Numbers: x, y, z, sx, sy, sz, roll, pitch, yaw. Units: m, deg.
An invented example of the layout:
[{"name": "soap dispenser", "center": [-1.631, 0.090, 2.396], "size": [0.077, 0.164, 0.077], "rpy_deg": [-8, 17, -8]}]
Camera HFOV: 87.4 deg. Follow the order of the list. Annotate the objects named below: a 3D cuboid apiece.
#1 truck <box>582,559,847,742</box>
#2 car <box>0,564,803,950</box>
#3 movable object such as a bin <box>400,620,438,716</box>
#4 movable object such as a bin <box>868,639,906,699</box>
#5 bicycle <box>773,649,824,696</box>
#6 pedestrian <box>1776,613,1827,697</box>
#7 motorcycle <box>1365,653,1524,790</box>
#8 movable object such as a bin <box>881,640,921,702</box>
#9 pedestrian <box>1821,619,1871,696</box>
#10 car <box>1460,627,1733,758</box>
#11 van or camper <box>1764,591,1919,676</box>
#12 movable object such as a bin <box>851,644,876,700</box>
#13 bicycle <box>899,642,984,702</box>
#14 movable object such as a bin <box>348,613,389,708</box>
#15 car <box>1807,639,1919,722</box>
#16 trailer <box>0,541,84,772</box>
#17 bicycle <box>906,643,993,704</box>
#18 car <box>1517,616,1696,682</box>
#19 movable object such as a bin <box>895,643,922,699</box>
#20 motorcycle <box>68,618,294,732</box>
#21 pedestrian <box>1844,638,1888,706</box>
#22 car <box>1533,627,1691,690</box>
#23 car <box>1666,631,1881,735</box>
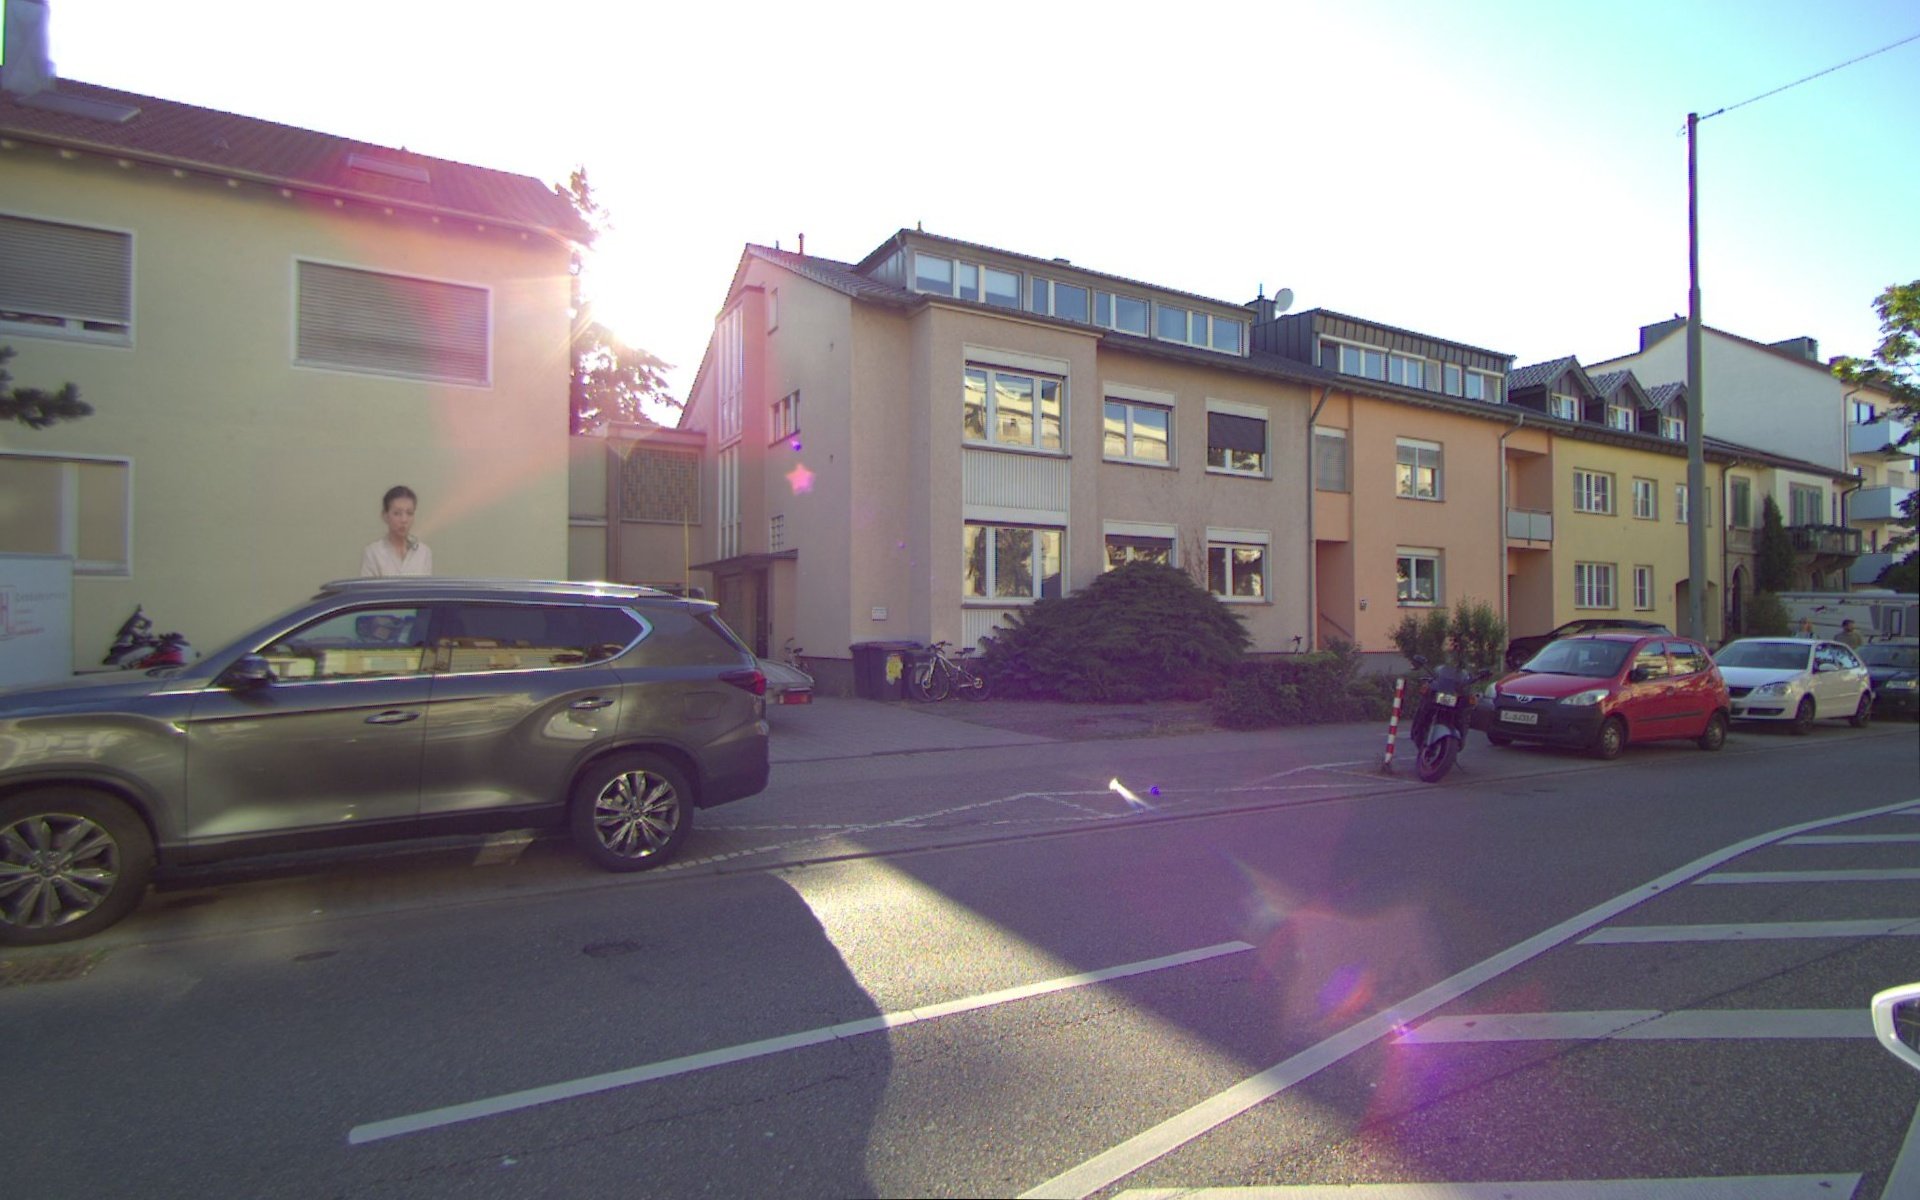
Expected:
[{"name": "truck", "center": [-4.151, 0.714, 15.698], "size": [2.249, 2.214, 6.864], "rpy_deg": [1, -2, -29]}, {"name": "car", "center": [-3.536, 0.790, 6.397], "size": [4.673, 1.802, 1.877], "rpy_deg": [1, -2, -32]}, {"name": "movable object such as a bin", "center": [-8.226, 1.017, 15.263], "size": [0.480, 1.420, 0.478], "rpy_deg": [1, -2, -29]}, {"name": "movable object such as a bin", "center": [-1.385, 1.292, 19.044], "size": [0.579, 1.105, 0.486], "rpy_deg": [1, -2, -30]}, {"name": "bicycle", "center": [-3.397, 1.523, 21.043], "size": [0.582, 0.942, 1.589], "rpy_deg": [1, -5, -27]}, {"name": "pedestrian", "center": [18.712, 1.213, 22.349], "size": [0.499, 1.816, 0.711], "rpy_deg": [1, -2, -27]}, {"name": "motorcycle", "center": [5.397, 1.253, 11.090], "size": [1.164, 1.282, 2.362], "rpy_deg": [-1, -2, 36]}, {"name": "movable object such as a bin", "center": [-1.084, 1.293, 18.476], "size": [0.579, 1.105, 0.486], "rpy_deg": [1, -2, -30]}, {"name": "pedestrian", "center": [21.246, 1.371, 24.089], "size": [0.564, 1.816, 0.711], "rpy_deg": [1, -2, -27]}, {"name": "car", "center": [8.458, 1.140, 13.339], "size": [3.392, 1.543, 1.587], "rpy_deg": [1, -2, -28]}, {"name": "van or camper", "center": [32.638, 1.144, 35.044], "size": [2.324, 2.810, 6.764], "rpy_deg": [1, 0, -30]}, {"name": "movable object such as a bin", "center": [-1.841, 1.357, 19.107], "size": [0.285, 1.051, 0.501], "rpy_deg": [1, -2, -30]}, {"name": "bicycle", "center": [-0.337, 1.353, 19.140], "size": [1.691, 1.100, 0.331], "rpy_deg": [1, -2, -31]}, {"name": "movable object such as a bin", "center": [-8.780, 0.889, 14.915], "size": [0.480, 1.376, 0.478], "rpy_deg": [1, -2, -29]}, {"name": "car", "center": [17.699, 1.451, 18.941], "size": [3.623, 1.415, 1.536], "rpy_deg": [1, -2, -30]}, {"name": "trailer", "center": [-9.763, 0.520, 9.664], "size": [1.535, 2.040, 2.758], "rpy_deg": [1, -2, -32]}, {"name": "bicycle", "center": [-0.188, 1.355, 18.815], "size": [1.691, 1.100, 0.331], "rpy_deg": [1, -2, -31]}, {"name": "car", "center": [18.683, 1.363, 29.201], "size": [1.843, 1.658, 3.970], "rpy_deg": [1, 0, -28]}, {"name": "movable object such as a bin", "center": [-0.991, 1.358, 19.316], "size": [0.345, 1.051, 0.433], "rpy_deg": [1, -2, -30]}, {"name": "motorcycle", "center": [-10.031, 0.941, 13.055], "size": [2.232, 1.392, 0.568], "rpy_deg": [1, -2, -31]}, {"name": "pedestrian", "center": [20.788, 1.636, 23.054], "size": [0.535, 1.515, 0.588], "rpy_deg": [1, -2, -27]}, {"name": "car", "center": [15.880, 1.385, 24.454], "size": [3.706, 1.427, 1.658], "rpy_deg": [1, -3, -29]}, {"name": "car", "center": [13.557, 1.303, 16.696], "size": [3.847, 1.543, 1.585], "rpy_deg": [1, -2, -31]}]
